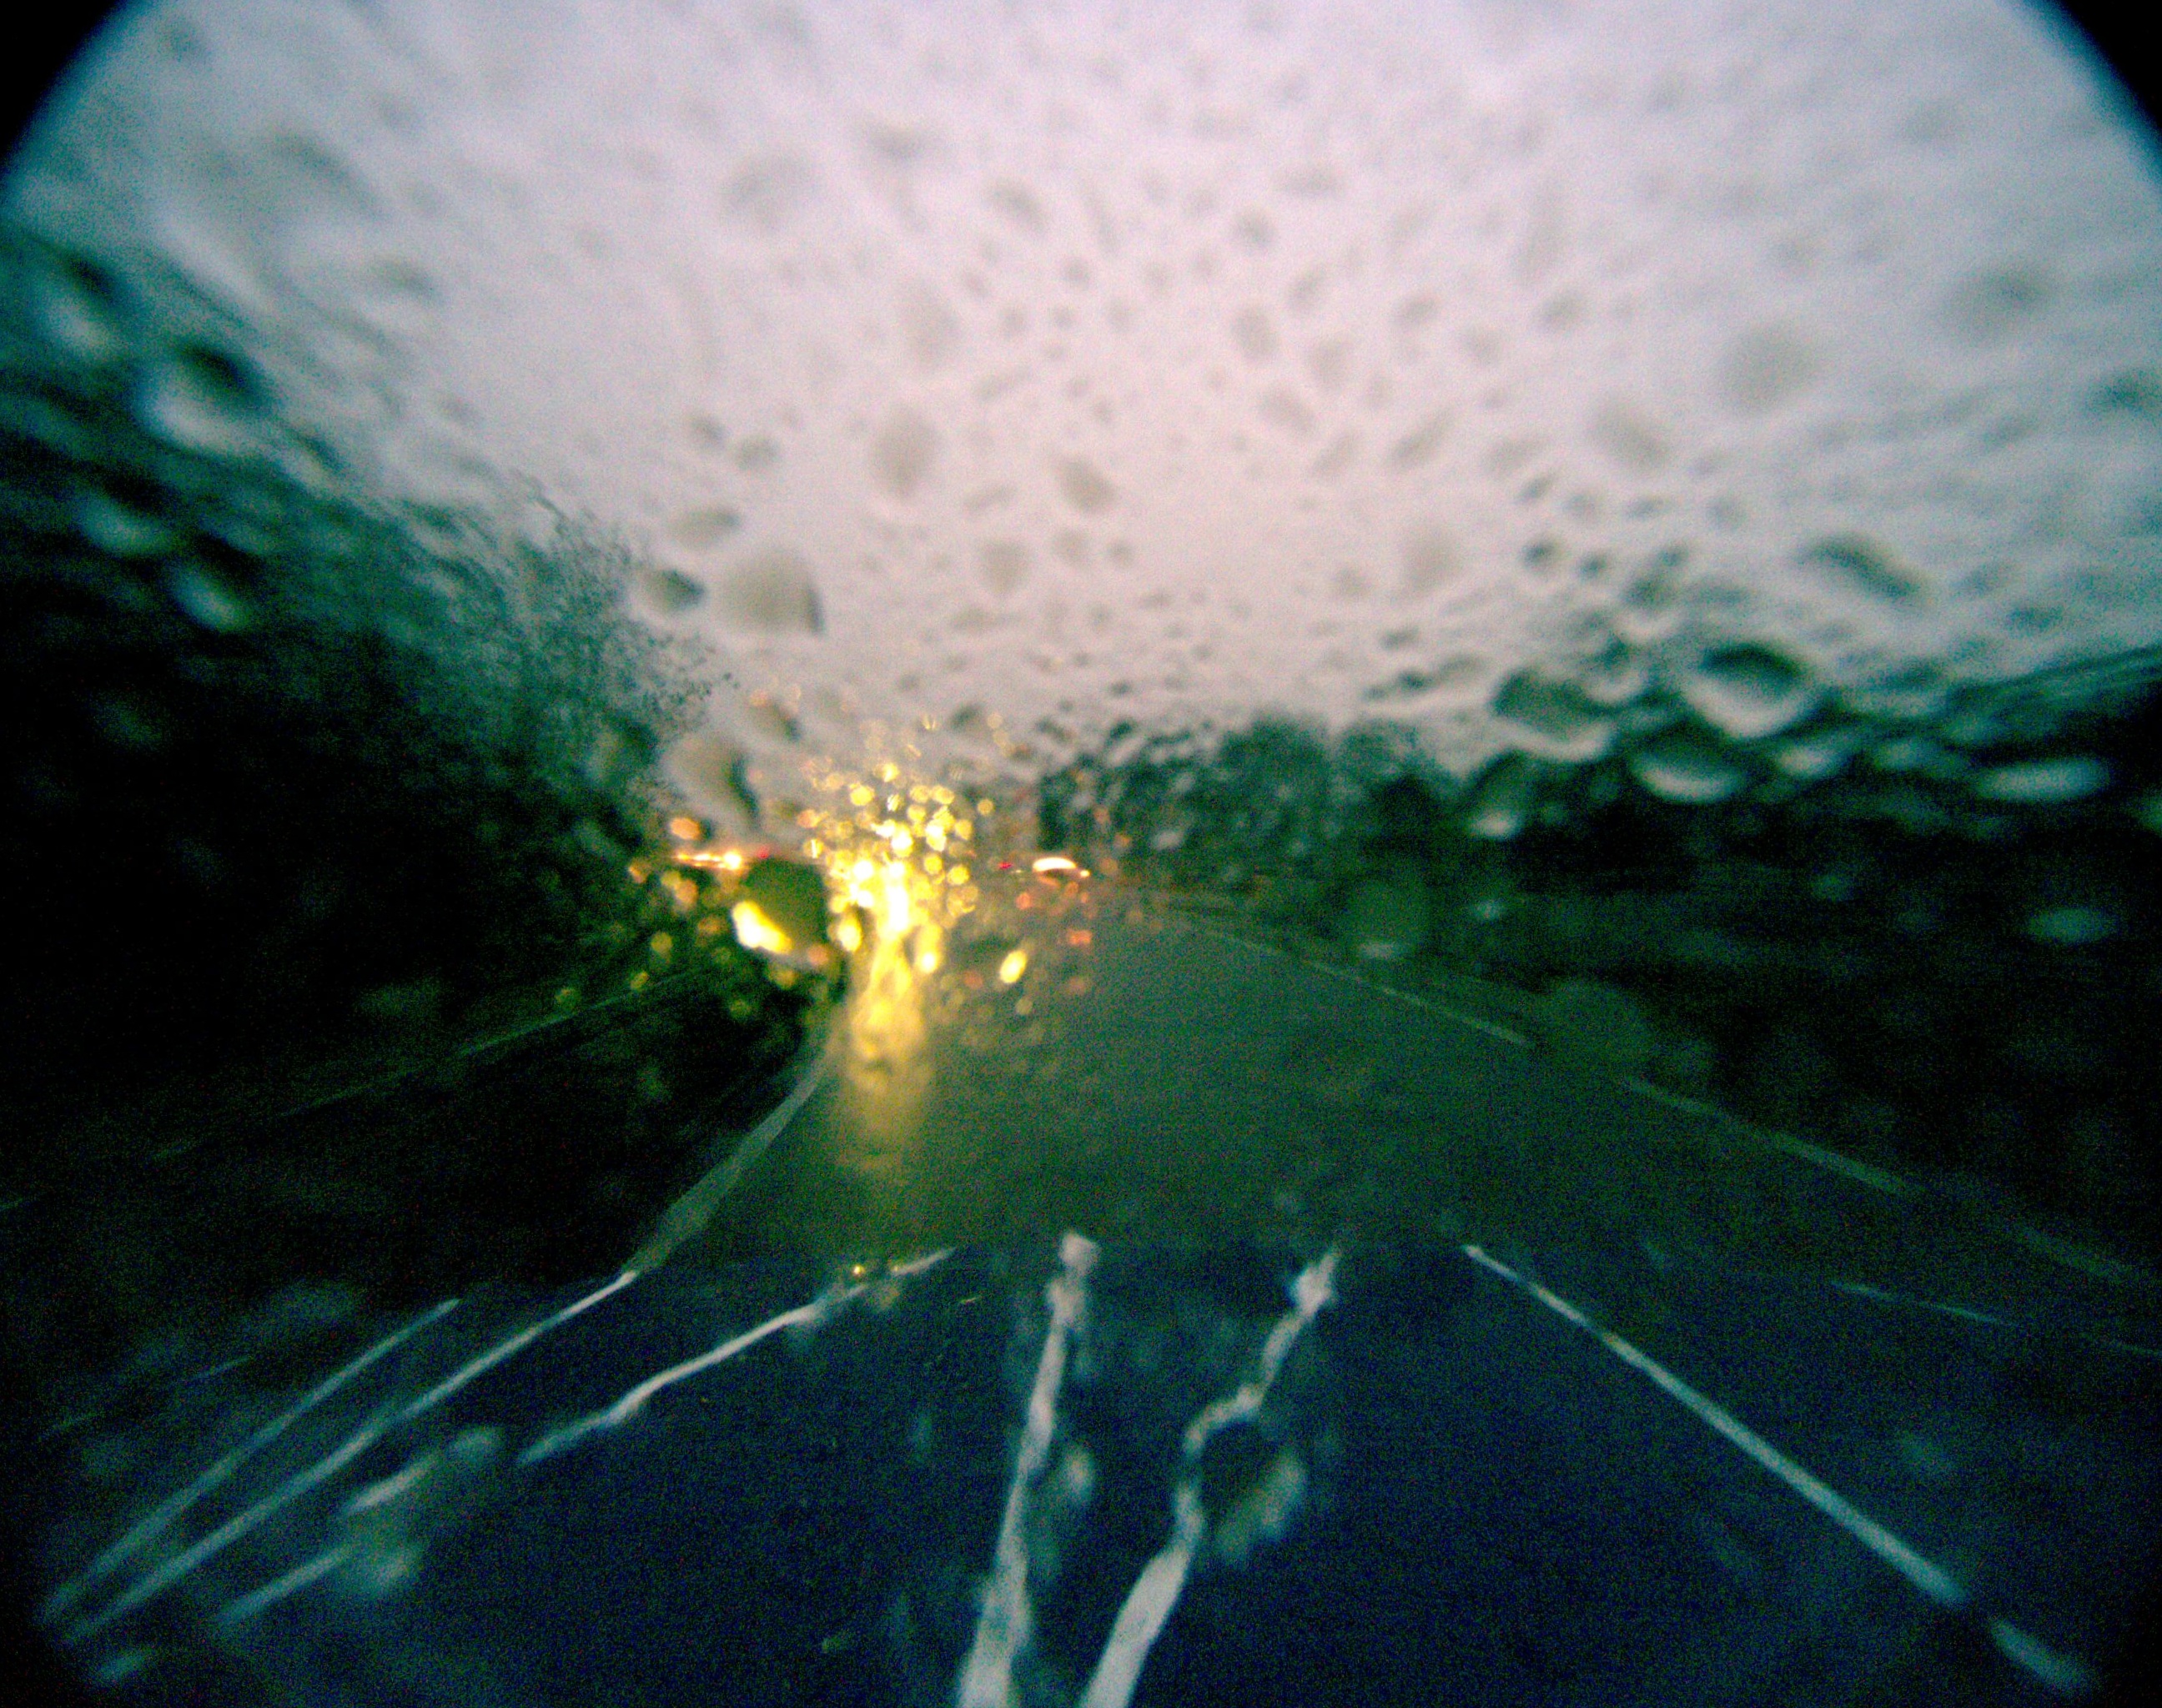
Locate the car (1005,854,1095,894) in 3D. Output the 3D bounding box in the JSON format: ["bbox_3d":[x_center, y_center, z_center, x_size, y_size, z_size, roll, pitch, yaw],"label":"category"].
[{"bbox_3d":[-1.304,0.754,30.415,1.659,1.502,3.863,0,0,-37],"label":"car"}]

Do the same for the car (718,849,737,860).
[{"bbox_3d":[-37.544,0.049,80.577,1.486,1.198,3.341,0,0,-31],"label":"car"}]

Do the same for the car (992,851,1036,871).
[{"bbox_3d":[-5.525,0.528,62.109,1.763,1.560,4.182,-1,1,-35],"label":"car"}]

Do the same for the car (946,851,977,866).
[{"bbox_3d":[-12.904,0.485,81.865,1.763,1.560,4.387,-1,1,-32],"label":"car"}]

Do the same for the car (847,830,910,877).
[{"bbox_3d":[-9.394,0.005,35.064,2.003,2.001,3.955,2,-1,-26],"label":"car"}]
